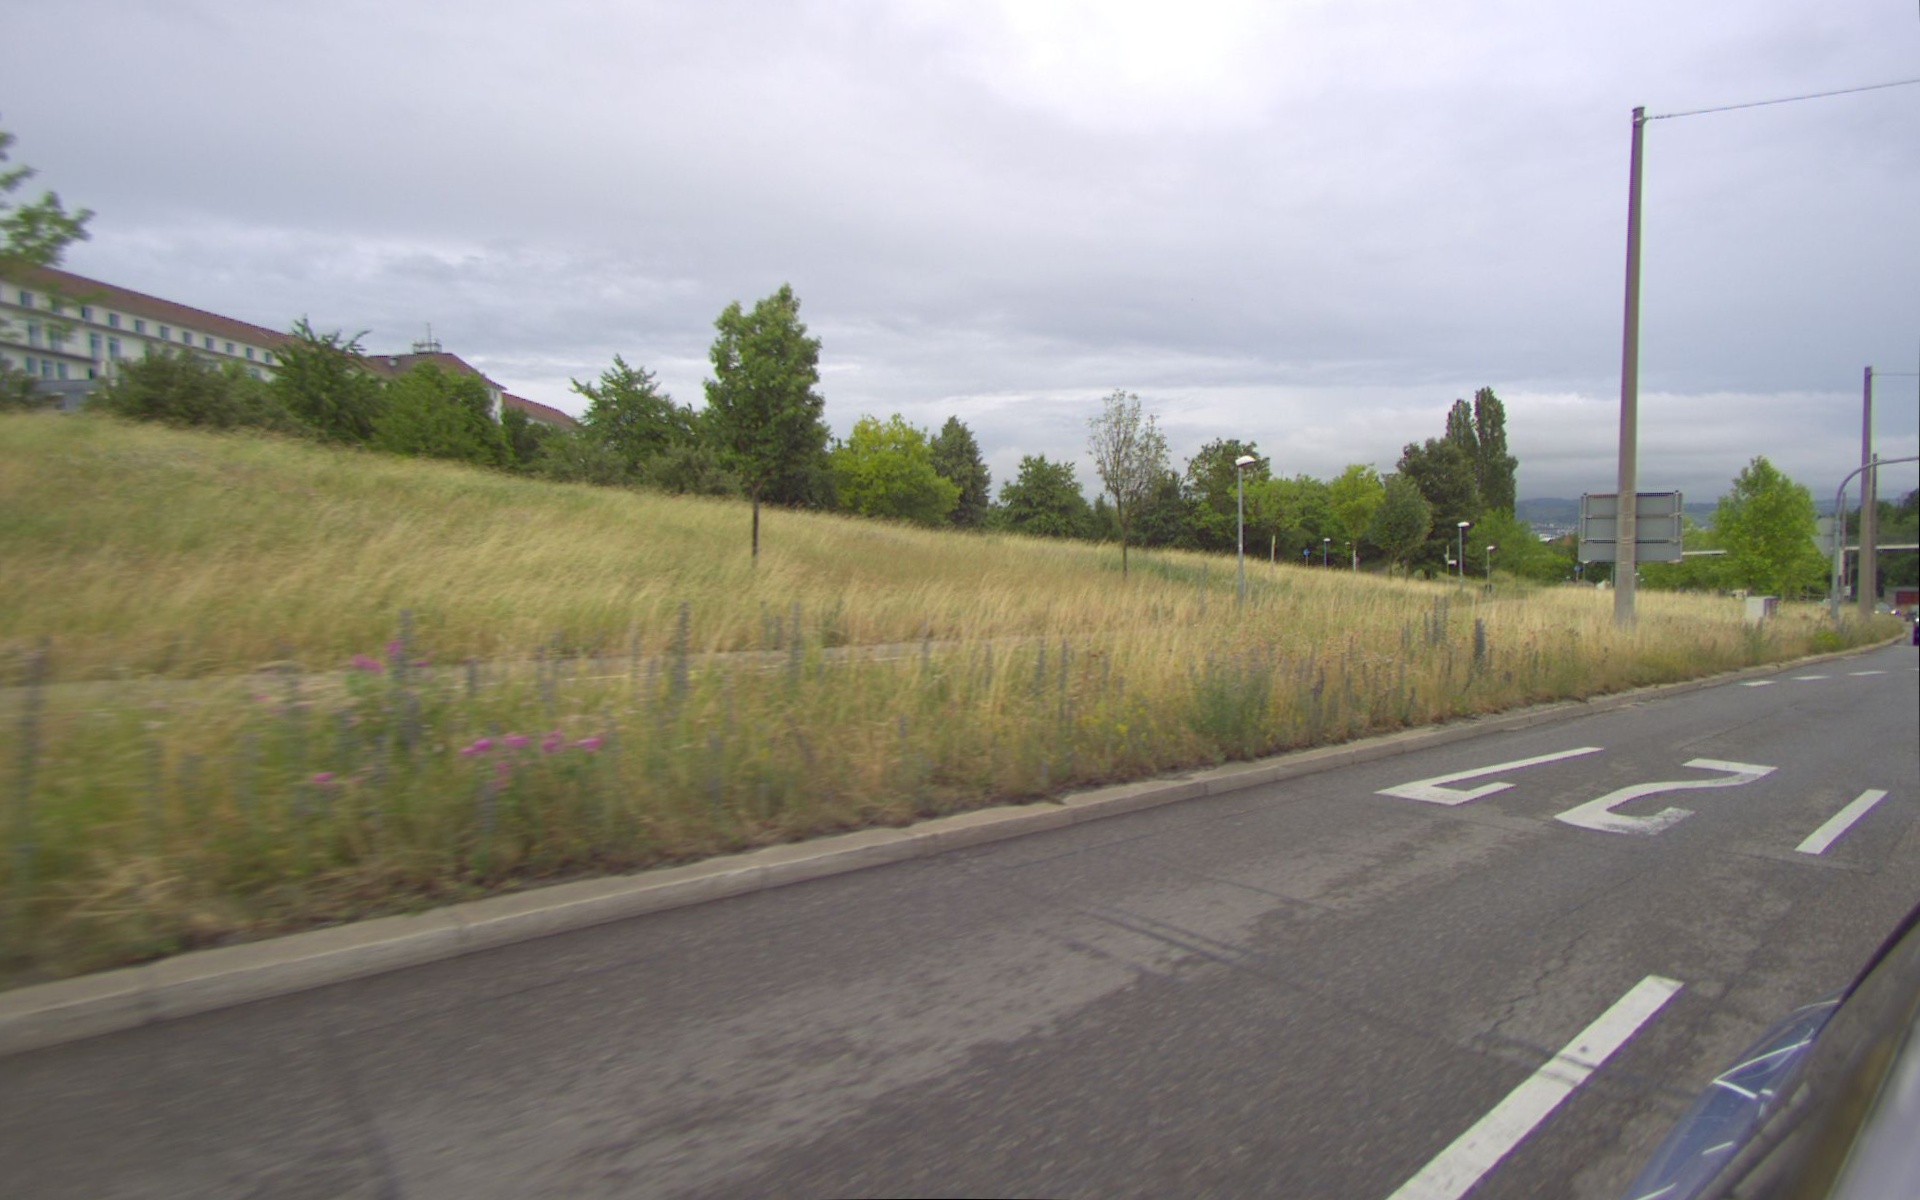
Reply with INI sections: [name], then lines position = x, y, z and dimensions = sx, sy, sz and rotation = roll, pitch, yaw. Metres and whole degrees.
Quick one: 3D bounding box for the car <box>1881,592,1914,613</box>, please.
[car]
position = 94.110, 0.206, 101.633
dimensions = 1.990, 2.038, 3.945
rotation = 2, 2, 38
